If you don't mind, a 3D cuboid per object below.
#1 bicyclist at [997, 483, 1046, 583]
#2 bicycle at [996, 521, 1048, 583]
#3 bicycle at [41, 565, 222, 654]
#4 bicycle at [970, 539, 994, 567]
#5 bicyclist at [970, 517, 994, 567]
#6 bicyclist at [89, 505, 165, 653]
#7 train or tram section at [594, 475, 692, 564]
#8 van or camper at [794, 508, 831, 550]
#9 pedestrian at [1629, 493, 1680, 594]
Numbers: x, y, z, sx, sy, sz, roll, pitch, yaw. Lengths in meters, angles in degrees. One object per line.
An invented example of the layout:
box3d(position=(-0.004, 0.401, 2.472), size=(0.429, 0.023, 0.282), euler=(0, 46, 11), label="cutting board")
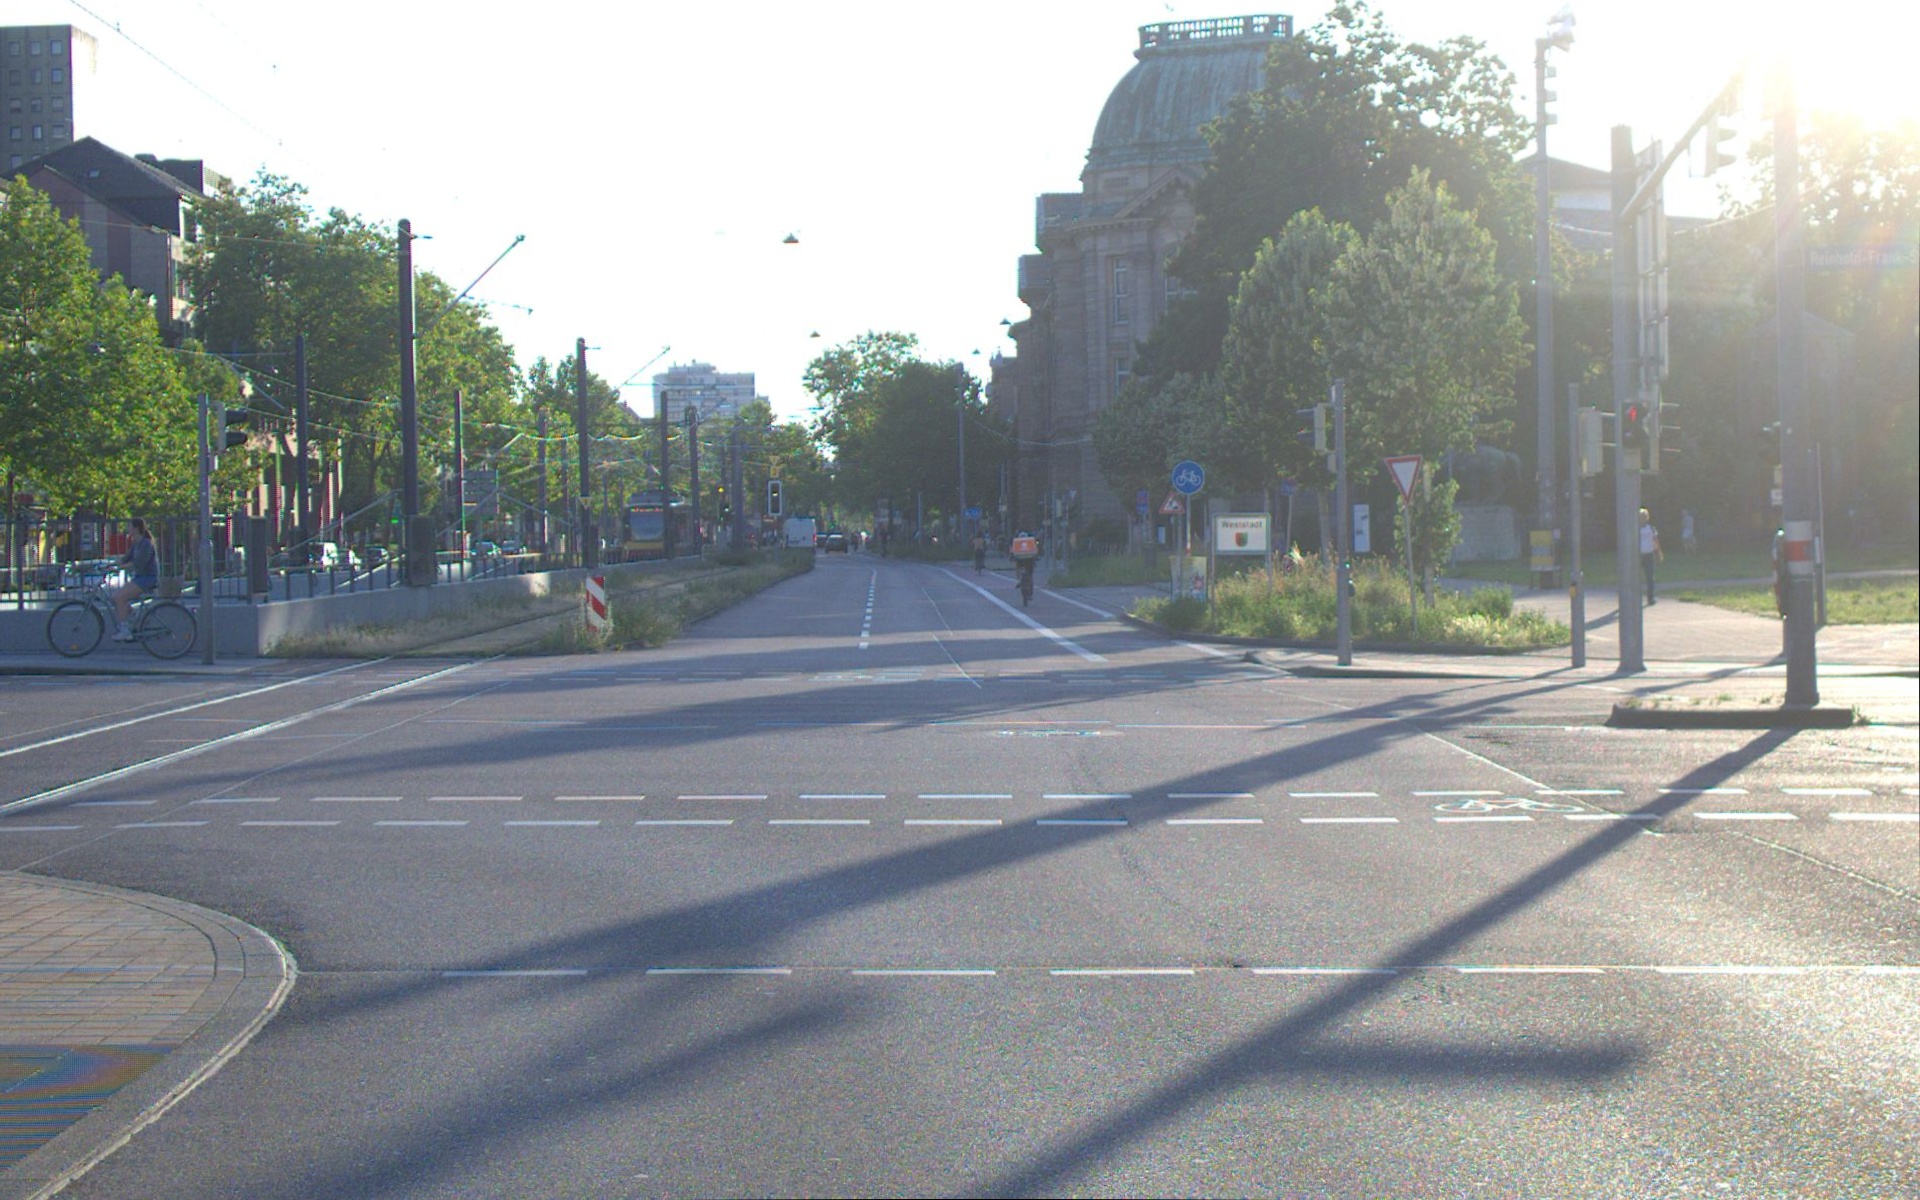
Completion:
box3d(position=(1.406, -1.528, 78.671), size=(1.082, 2.268, 0.986), euler=(0, 1, -1), label="bicyclist")
box3d(position=(1.411, -1.103, 78.748), size=(1.098, 1.394, 2.832), euler=(-1, 1, -1), label="bicycle")
box3d(position=(-10.269, 0.108, 42.613), size=(2.163, 1.080, 0.539), euler=(0, 0, -16), label="bicycle")
box3d(position=(0.886, -1.885, 138.569), size=(0.924, 1.108, 2.333), euler=(-1, 1, -1), label="bicycle")
box3d(position=(0.868, -2.337, 138.500), size=(0.925, 2.007, 0.850), euler=(-1, 1, -1), label="bicyclist")
box3d(position=(-10.318, -0.269, 42.585), size=(0.876, 1.812, 0.538), euler=(-1, 1, -15), label="bicyclist")
box3d(position=(-15.003, -3.888, 163.414), size=(4.385, 3.836, 11.413), euler=(-1, 3, -5), label="train or tram section")
box3d(position=(-9.939, -4.765, 231.560), size=(2.449, 2.761, 5.601), euler=(-1, 1, -2), label="van or camper")
box3d(position=(12.476, -1.017, 61.746), size=(0.833, 1.797, 0.810), euler=(-1, 1, 15), label="pedestrian")
